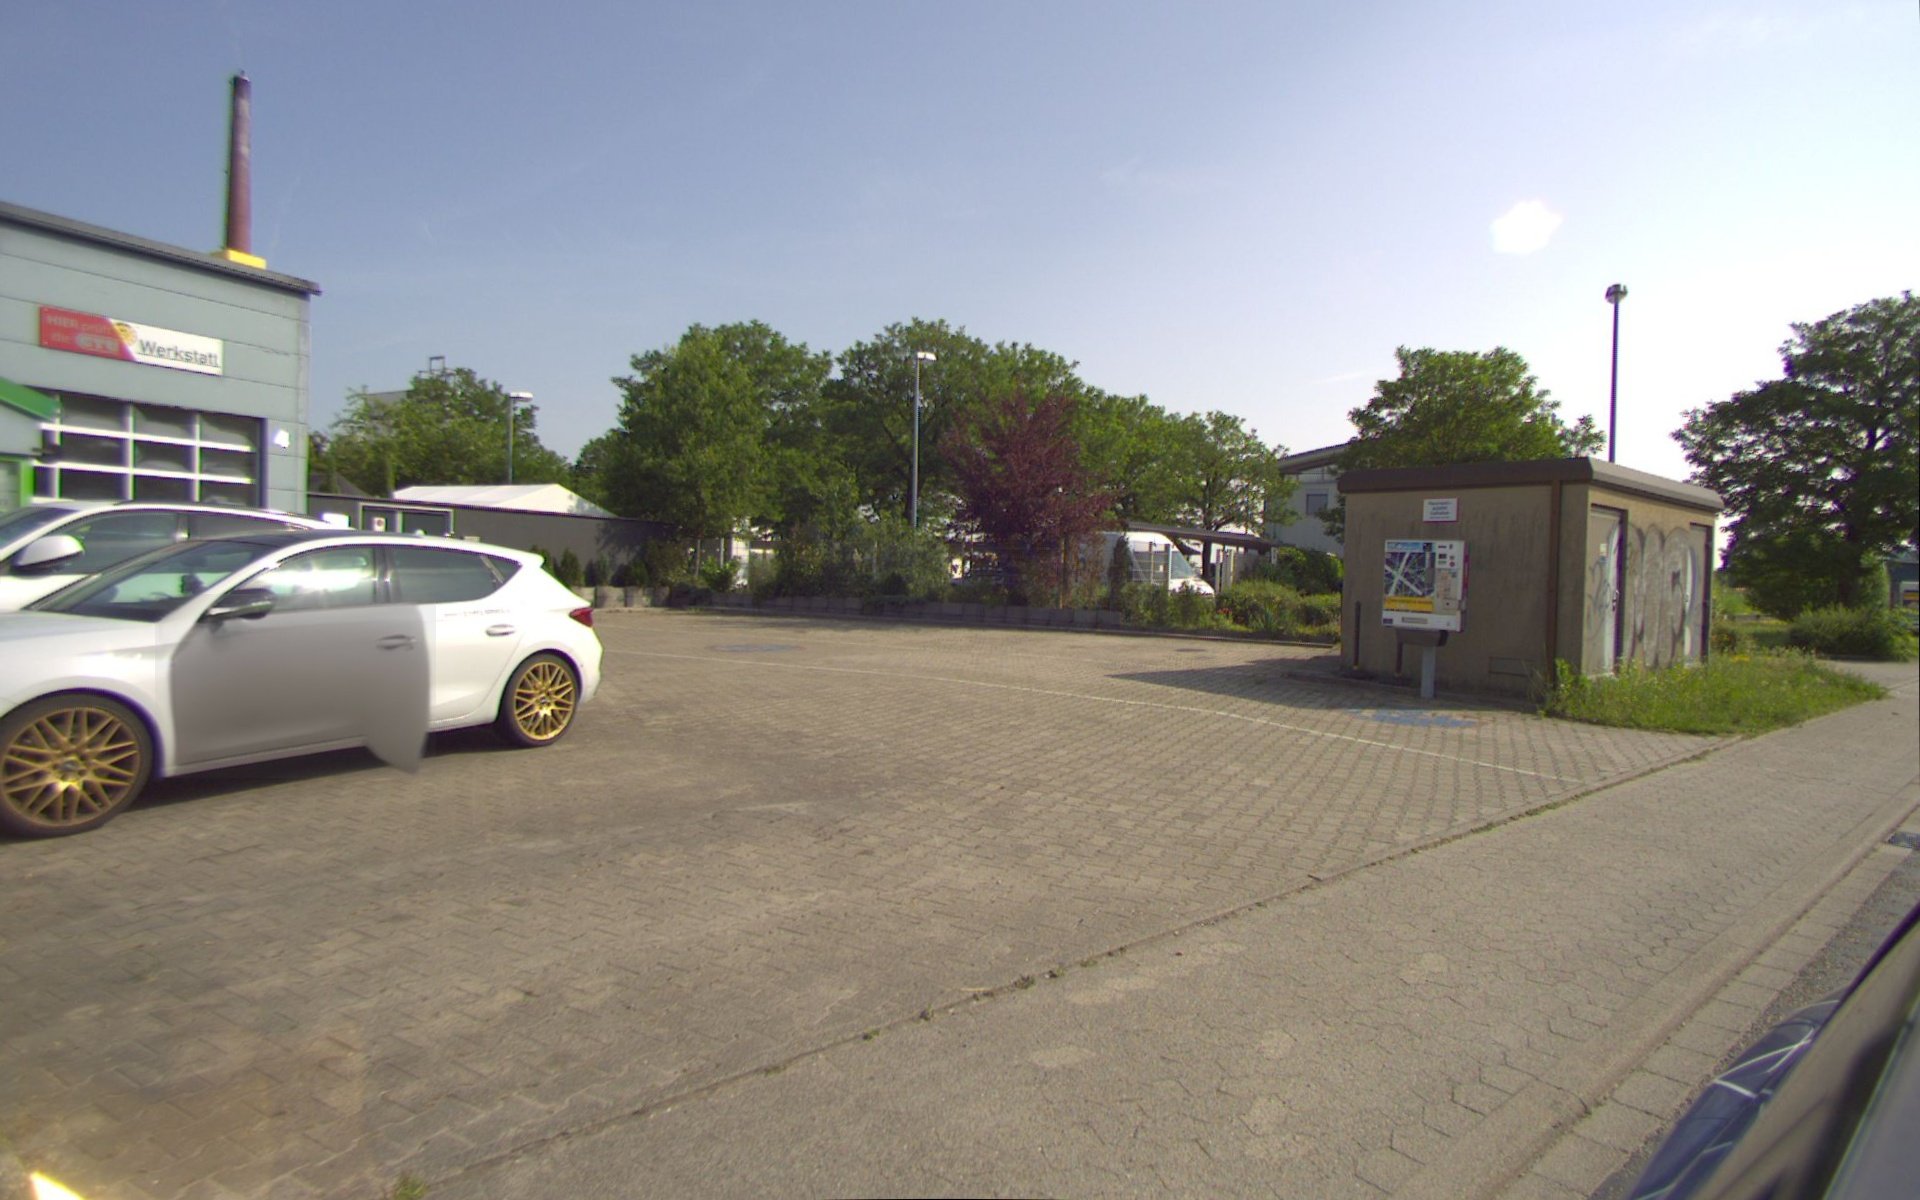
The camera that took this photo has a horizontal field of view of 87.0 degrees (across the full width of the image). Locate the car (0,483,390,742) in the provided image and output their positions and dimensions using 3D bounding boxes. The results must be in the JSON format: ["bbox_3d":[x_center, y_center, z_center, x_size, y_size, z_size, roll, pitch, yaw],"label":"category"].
[{"bbox_3d":[-6.451,0.036,7.057,1.703,1.591,4.097,2,2,26],"label":"car"}]

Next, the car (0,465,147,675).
[{"bbox_3d":[-8.908,-0.270,8.249,1.627,1.741,3.186,2,2,26],"label":"car"}]

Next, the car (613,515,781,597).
[{"bbox_3d":[-9.290,-1.558,36.566,2.195,2.640,6.842,2,2,22],"label":"car"}]

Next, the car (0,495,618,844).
[{"bbox_3d":[-4.206,0.234,5.982,1.676,1.484,4.225,2,2,26],"label":"car"}]

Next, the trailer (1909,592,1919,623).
[{"bbox_3d":[50.784,0.397,51.127,13.886,1.408,2.552,0,3,-40],"label":"trailer"}]

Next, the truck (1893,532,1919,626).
[{"bbox_3d":[45.004,-0.878,46.049,8.430,4.029,2.559,0,4,-41],"label":"truck"}]

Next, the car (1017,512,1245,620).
[{"bbox_3d":[4.374,-0.868,27.441,2.236,2.571,6.752,0,1,-31],"label":"car"}]
